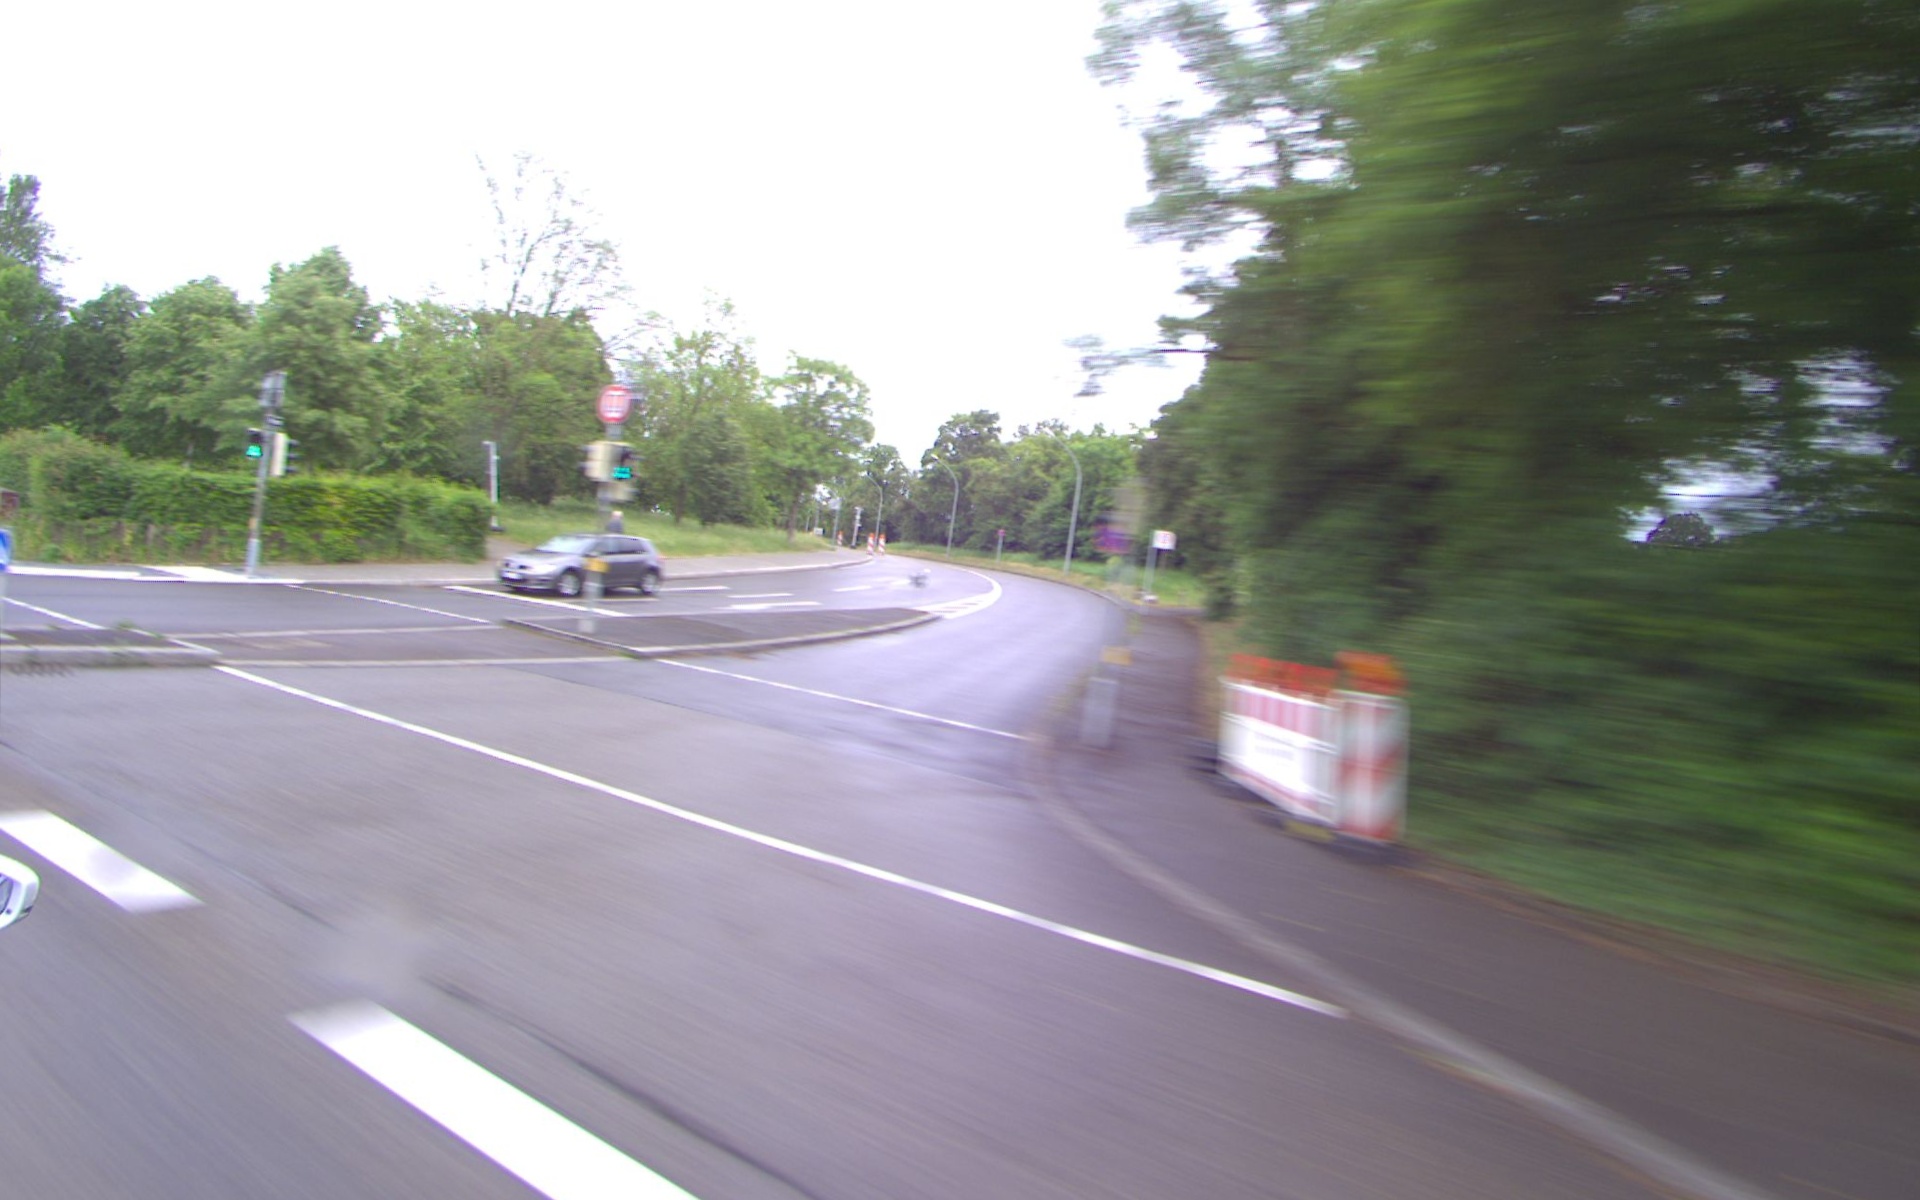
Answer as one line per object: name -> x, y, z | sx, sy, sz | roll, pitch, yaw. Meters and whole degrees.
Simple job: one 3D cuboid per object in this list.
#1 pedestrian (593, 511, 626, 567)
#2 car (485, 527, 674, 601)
pedestrian -> -10.635, -1.839, 30.503 | 0.678, 1.603, 0.473 | 7, 2, 0
car -> -8.930, -0.892, 23.952 | 1.856, 1.475, 4.075 | 6, 5, 24
